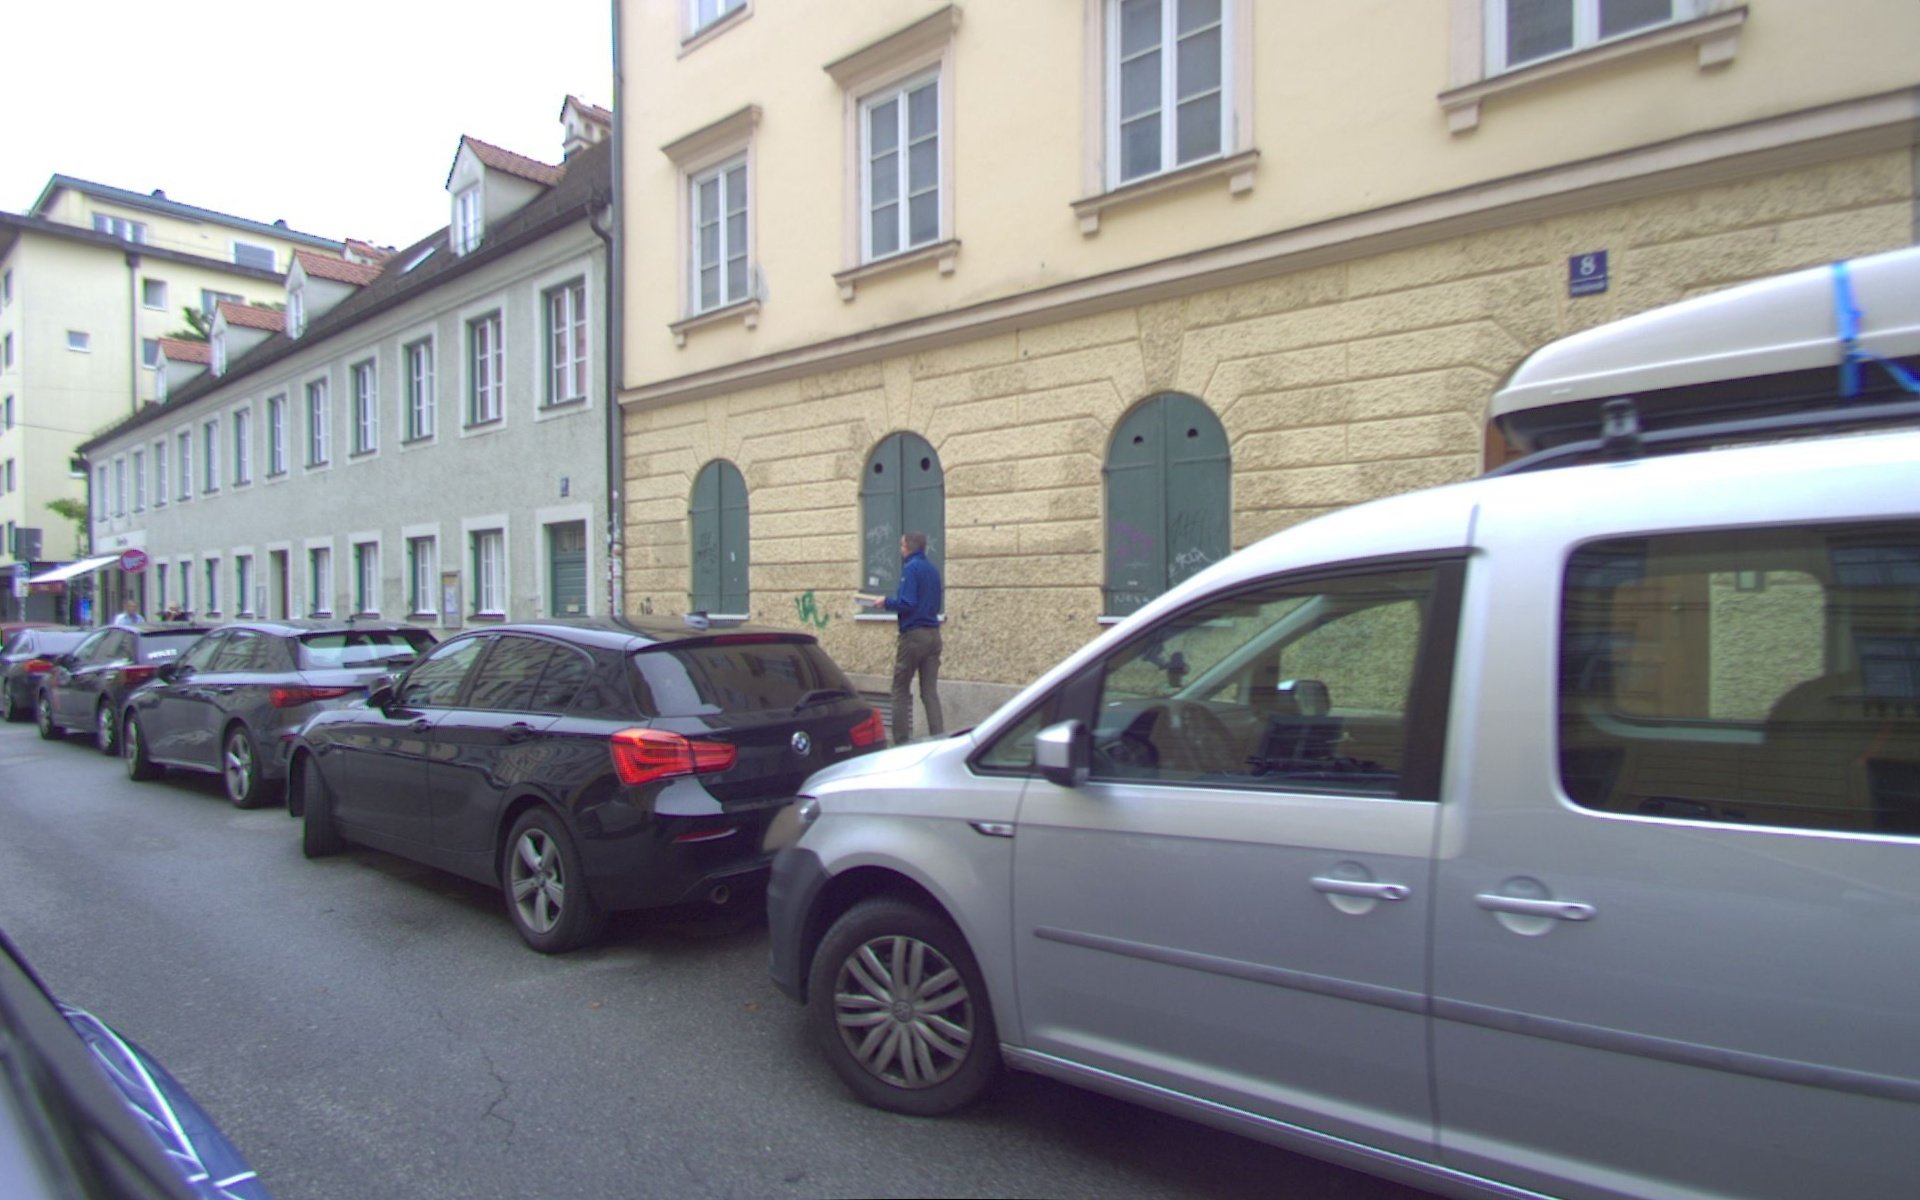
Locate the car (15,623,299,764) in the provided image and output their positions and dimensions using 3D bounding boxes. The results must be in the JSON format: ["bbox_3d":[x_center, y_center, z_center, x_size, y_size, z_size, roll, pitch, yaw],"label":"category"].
[{"bbox_3d":[-9.995,1.026,12.491,4.264,1.412,1.839,-2,-1,39],"label":"car"}]

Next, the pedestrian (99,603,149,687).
[{"bbox_3d":[-16.386,0.875,19.840,0.661,1.611,0.607,-2,-2,36],"label":"pedestrian"}]

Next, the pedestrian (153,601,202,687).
[{"bbox_3d":[-15.908,0.883,20.574,0.805,1.711,0.575,-2,-2,36],"label":"pedestrian"}]

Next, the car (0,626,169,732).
[{"bbox_3d":[-14.314,1.160,16.106,4.265,1.412,1.839,-2,-1,39],"label":"car"}]

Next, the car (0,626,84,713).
[{"bbox_3d":[-18.453,1.301,19.620,3.418,1.526,1.554,-2,-1,37],"label":"car"}]

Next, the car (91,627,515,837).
[{"bbox_3d":[-6.002,0.979,9.068,4.262,1.412,1.840,-2,-1,37],"label":"car"}]

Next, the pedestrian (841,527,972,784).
[{"bbox_3d":[-0.452,0.448,8.549,0.749,2.029,0.797,-2,-2,41],"label":"pedestrian"}]

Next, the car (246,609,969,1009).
[{"bbox_3d":[-2.197,0.802,5.697,4.263,1.412,1.840,-2,-1,38],"label":"car"}]

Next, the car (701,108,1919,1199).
[{"bbox_3d":[1.592,0.349,2.632,4.549,2.218,1.842,-1,-1,34],"label":"car"}]

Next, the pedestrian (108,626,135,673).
[{"bbox_3d":[-23.029,1.359,27.802,0.515,1.276,0.548,-2,-2,-36],"label":"pedestrian"}]
